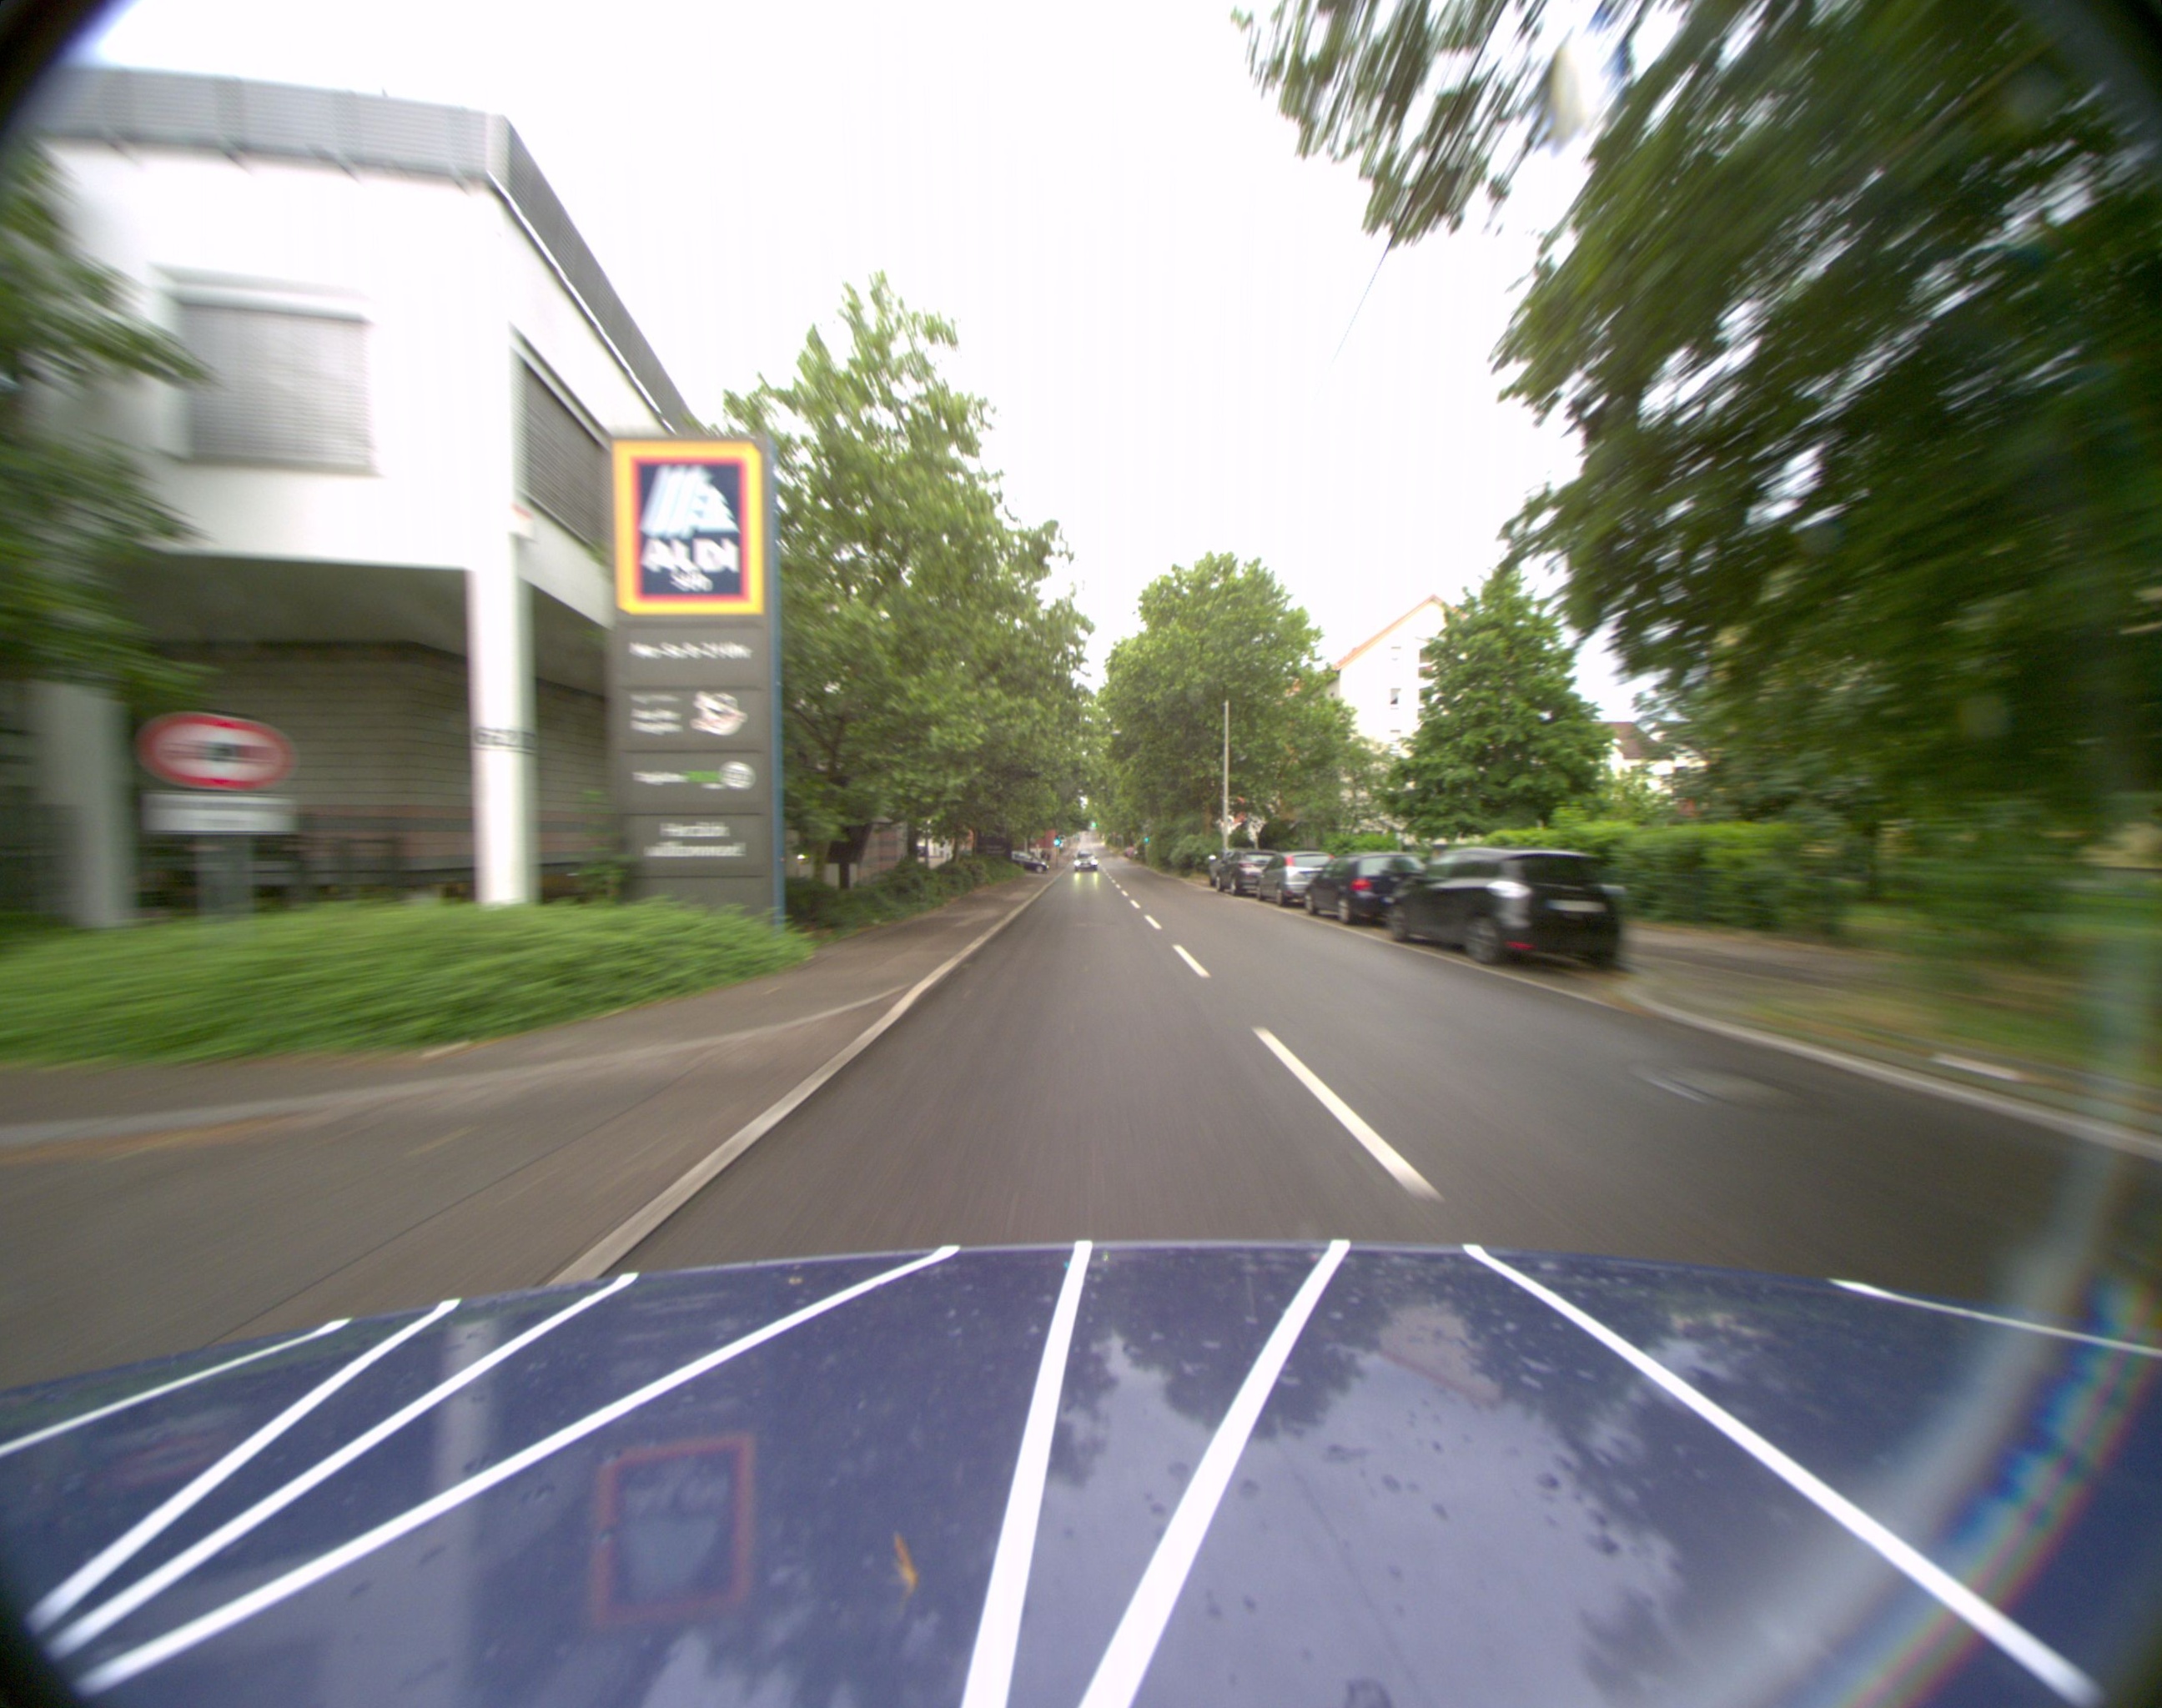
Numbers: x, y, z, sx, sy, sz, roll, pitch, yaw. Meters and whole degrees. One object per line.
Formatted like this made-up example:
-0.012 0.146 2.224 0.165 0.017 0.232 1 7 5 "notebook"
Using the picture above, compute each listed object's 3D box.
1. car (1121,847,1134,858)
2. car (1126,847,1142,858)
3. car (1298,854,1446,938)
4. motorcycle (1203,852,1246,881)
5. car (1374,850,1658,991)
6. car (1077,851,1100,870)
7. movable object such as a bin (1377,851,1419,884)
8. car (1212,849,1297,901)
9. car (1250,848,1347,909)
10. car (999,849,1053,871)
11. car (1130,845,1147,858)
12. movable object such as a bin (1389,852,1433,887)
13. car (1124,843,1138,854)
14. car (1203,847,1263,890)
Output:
6.812 -0.215 111.670 1.559 1.459 3.396 -1 1 -1 "car"
7.193 -0.202 103.303 1.721 1.459 3.754 -1 1 -1 "car"
6.007 0.784 16.169 1.676 1.499 3.873 2 1 1 "car"
6.868 0.596 36.386 1.844 1.308 0.783 2 1 0 "motorcycle"
5.802 0.766 10.802 1.652 1.529 4.018 3 1 0 "car"
0.539 0.493 61.245 1.692 1.334 3.998 0 2 -2 "car"
13.607 0.567 32.676 1.238 1.372 1.480 -1 1 3 "movable object such as a bin"
5.910 0.656 26.398 1.869 1.582 4.238 2 1 -1 "car"
6.061 0.623 21.608 1.676 1.499 4.123 -2 1 2 "car"
-4.072 0.425 55.899 3.860 1.538 2.025 0 1 -5 "car"
7.291 -0.361 96.365 1.721 1.459 4.232 -1 1 -1 "car"
13.516 0.606 31.172 1.238 1.372 1.480 -1 1 3 "movable object such as a bin"
7.457 -0.846 113.580 1.721 1.501 4.802 -1 1 -1 "car"
6.483 0.597 32.853 1.738 1.648 4.564 3 0 2 "car"
